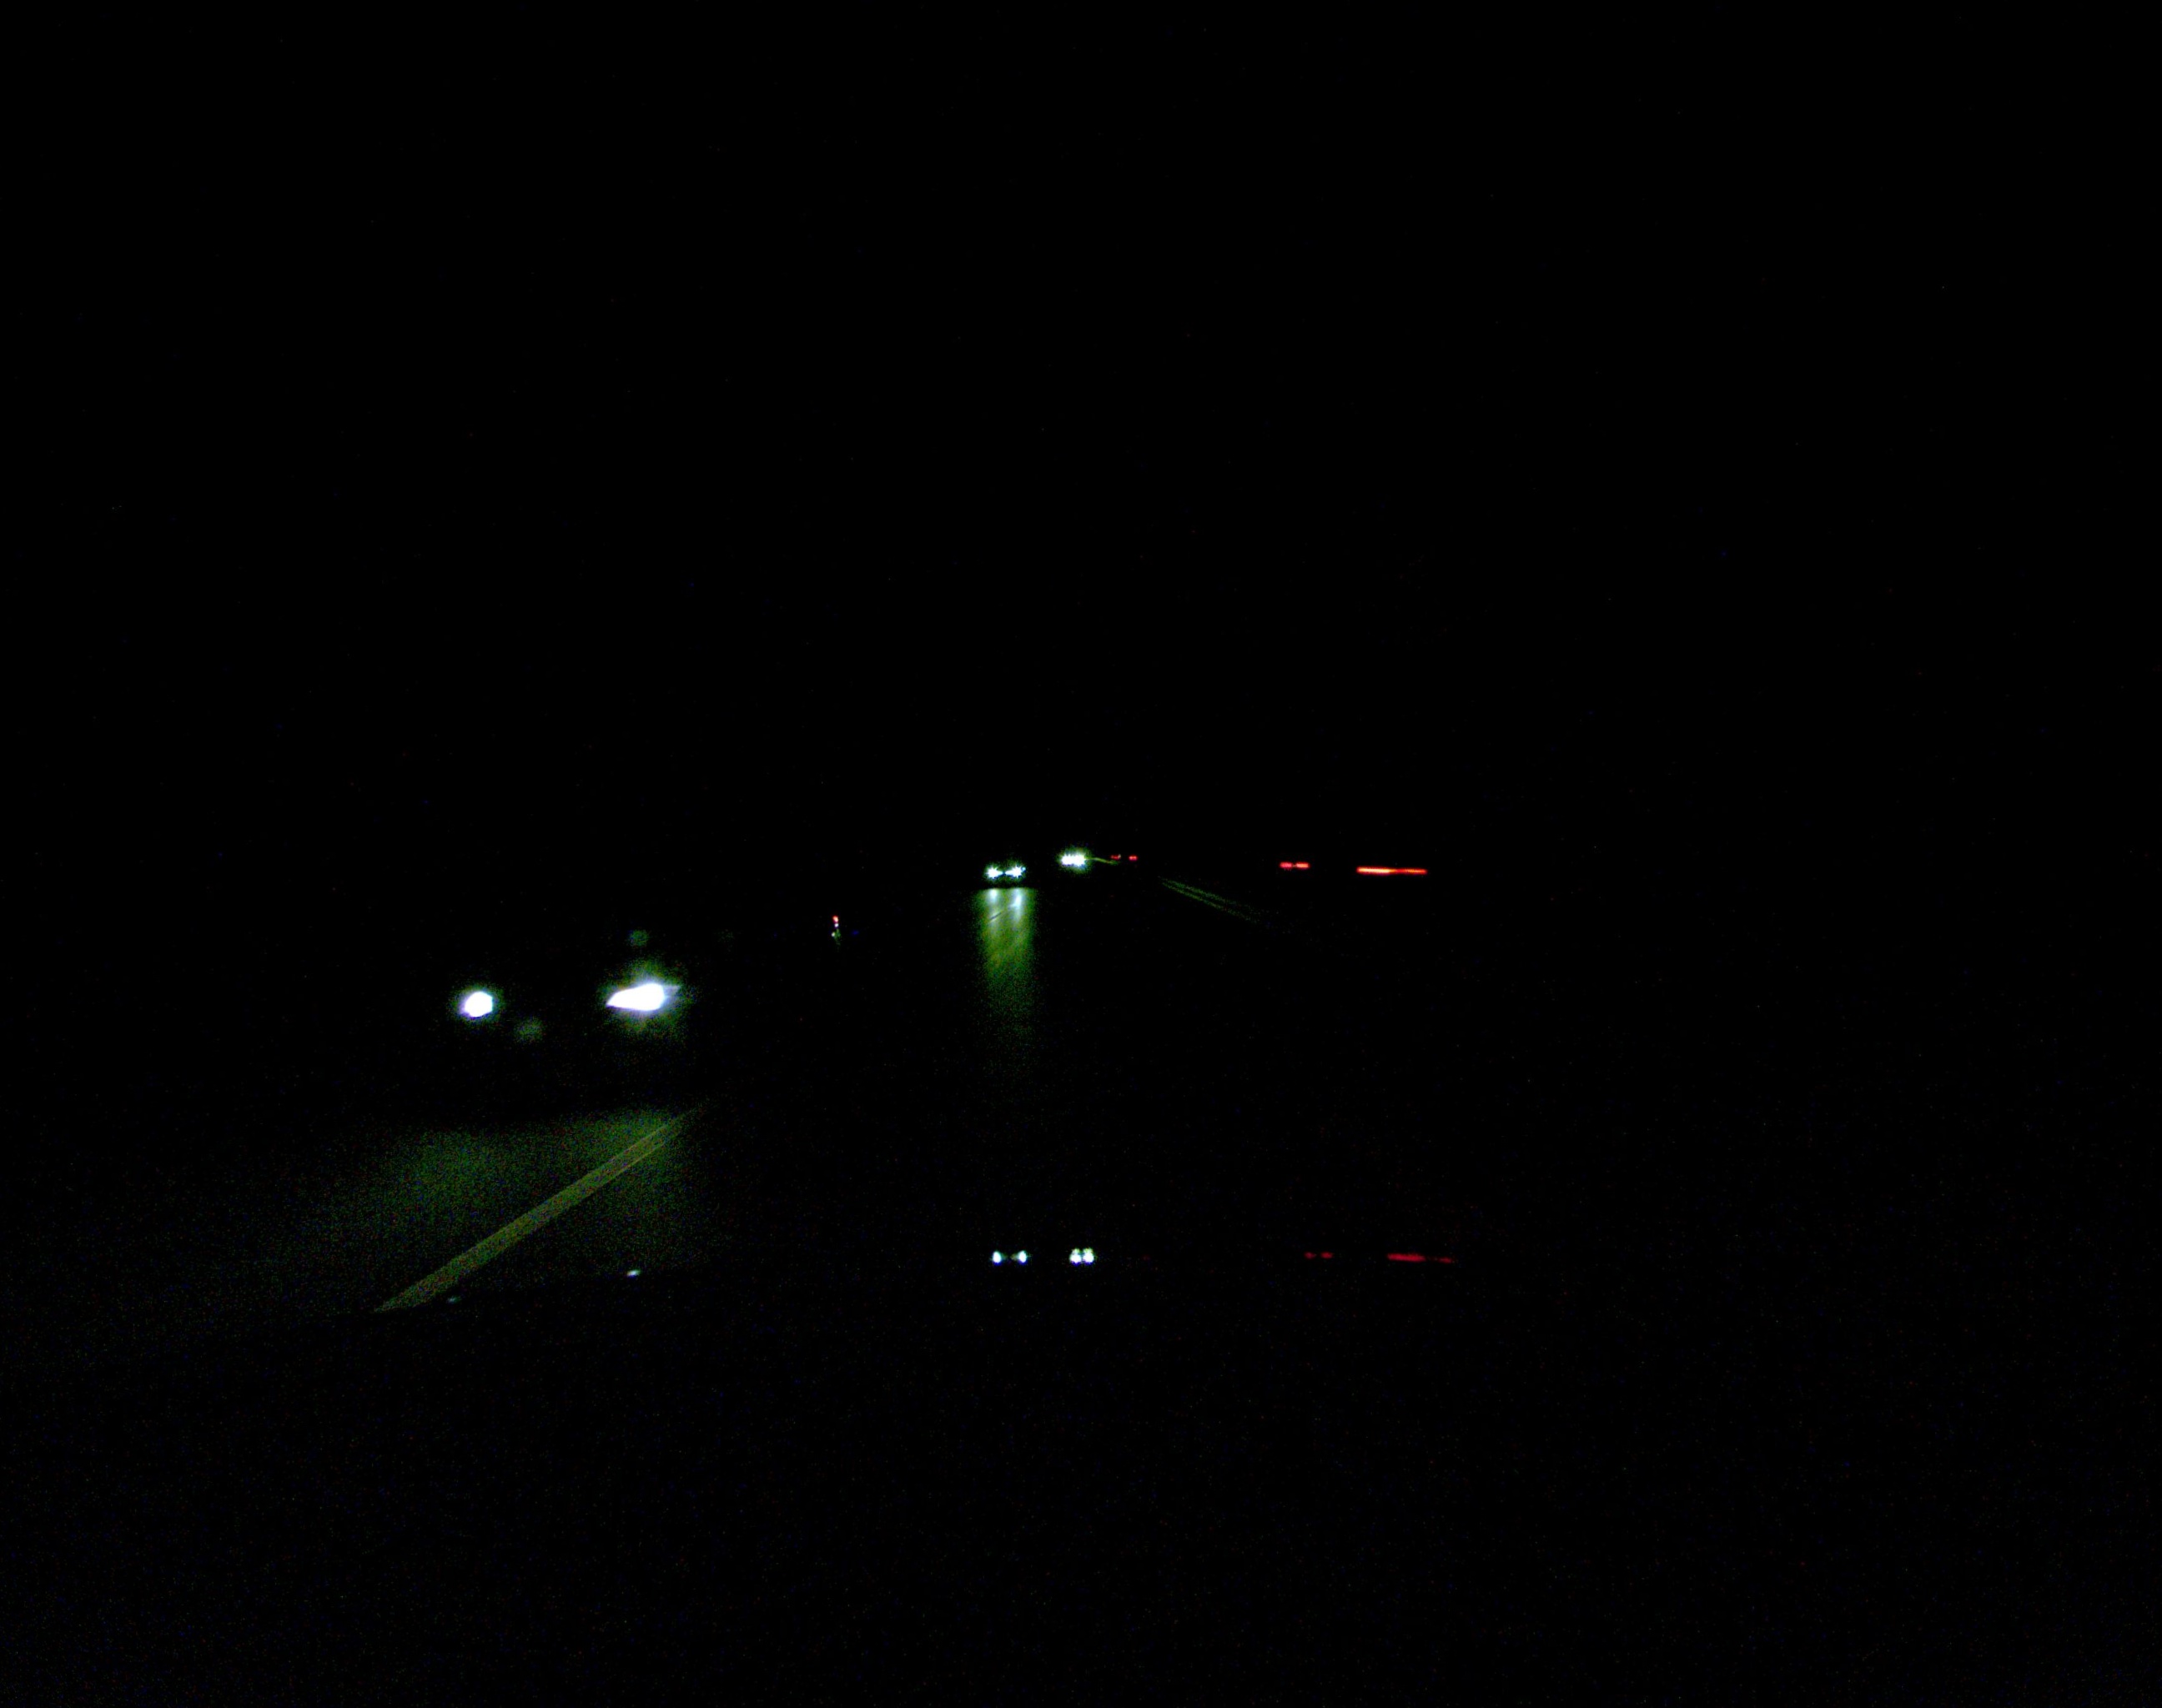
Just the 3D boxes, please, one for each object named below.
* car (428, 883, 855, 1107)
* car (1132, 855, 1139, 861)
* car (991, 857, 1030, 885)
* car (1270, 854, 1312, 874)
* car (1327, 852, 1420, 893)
[{"bbox_3d":[-3.735,1.078,7.486,1.690,1.405,4.225,0,0,1],"label":"car"},{"bbox_3d":[15.751,1.177,219.764,1.998,1.628,5.075,-1,0,2],"label":"car"},{"bbox_3d":[-4.051,0.946,44.260,1.795,1.532,4.225,-1,0,1],"label":"car"},{"bbox_3d":[17.212,0.793,62.572,1.998,1.542,5.004,2,0,0],"label":"car"},{"bbox_3d":[12.298,0.724,32.334,1.998,1.542,5.004,2,0,0],"label":"car"}]
